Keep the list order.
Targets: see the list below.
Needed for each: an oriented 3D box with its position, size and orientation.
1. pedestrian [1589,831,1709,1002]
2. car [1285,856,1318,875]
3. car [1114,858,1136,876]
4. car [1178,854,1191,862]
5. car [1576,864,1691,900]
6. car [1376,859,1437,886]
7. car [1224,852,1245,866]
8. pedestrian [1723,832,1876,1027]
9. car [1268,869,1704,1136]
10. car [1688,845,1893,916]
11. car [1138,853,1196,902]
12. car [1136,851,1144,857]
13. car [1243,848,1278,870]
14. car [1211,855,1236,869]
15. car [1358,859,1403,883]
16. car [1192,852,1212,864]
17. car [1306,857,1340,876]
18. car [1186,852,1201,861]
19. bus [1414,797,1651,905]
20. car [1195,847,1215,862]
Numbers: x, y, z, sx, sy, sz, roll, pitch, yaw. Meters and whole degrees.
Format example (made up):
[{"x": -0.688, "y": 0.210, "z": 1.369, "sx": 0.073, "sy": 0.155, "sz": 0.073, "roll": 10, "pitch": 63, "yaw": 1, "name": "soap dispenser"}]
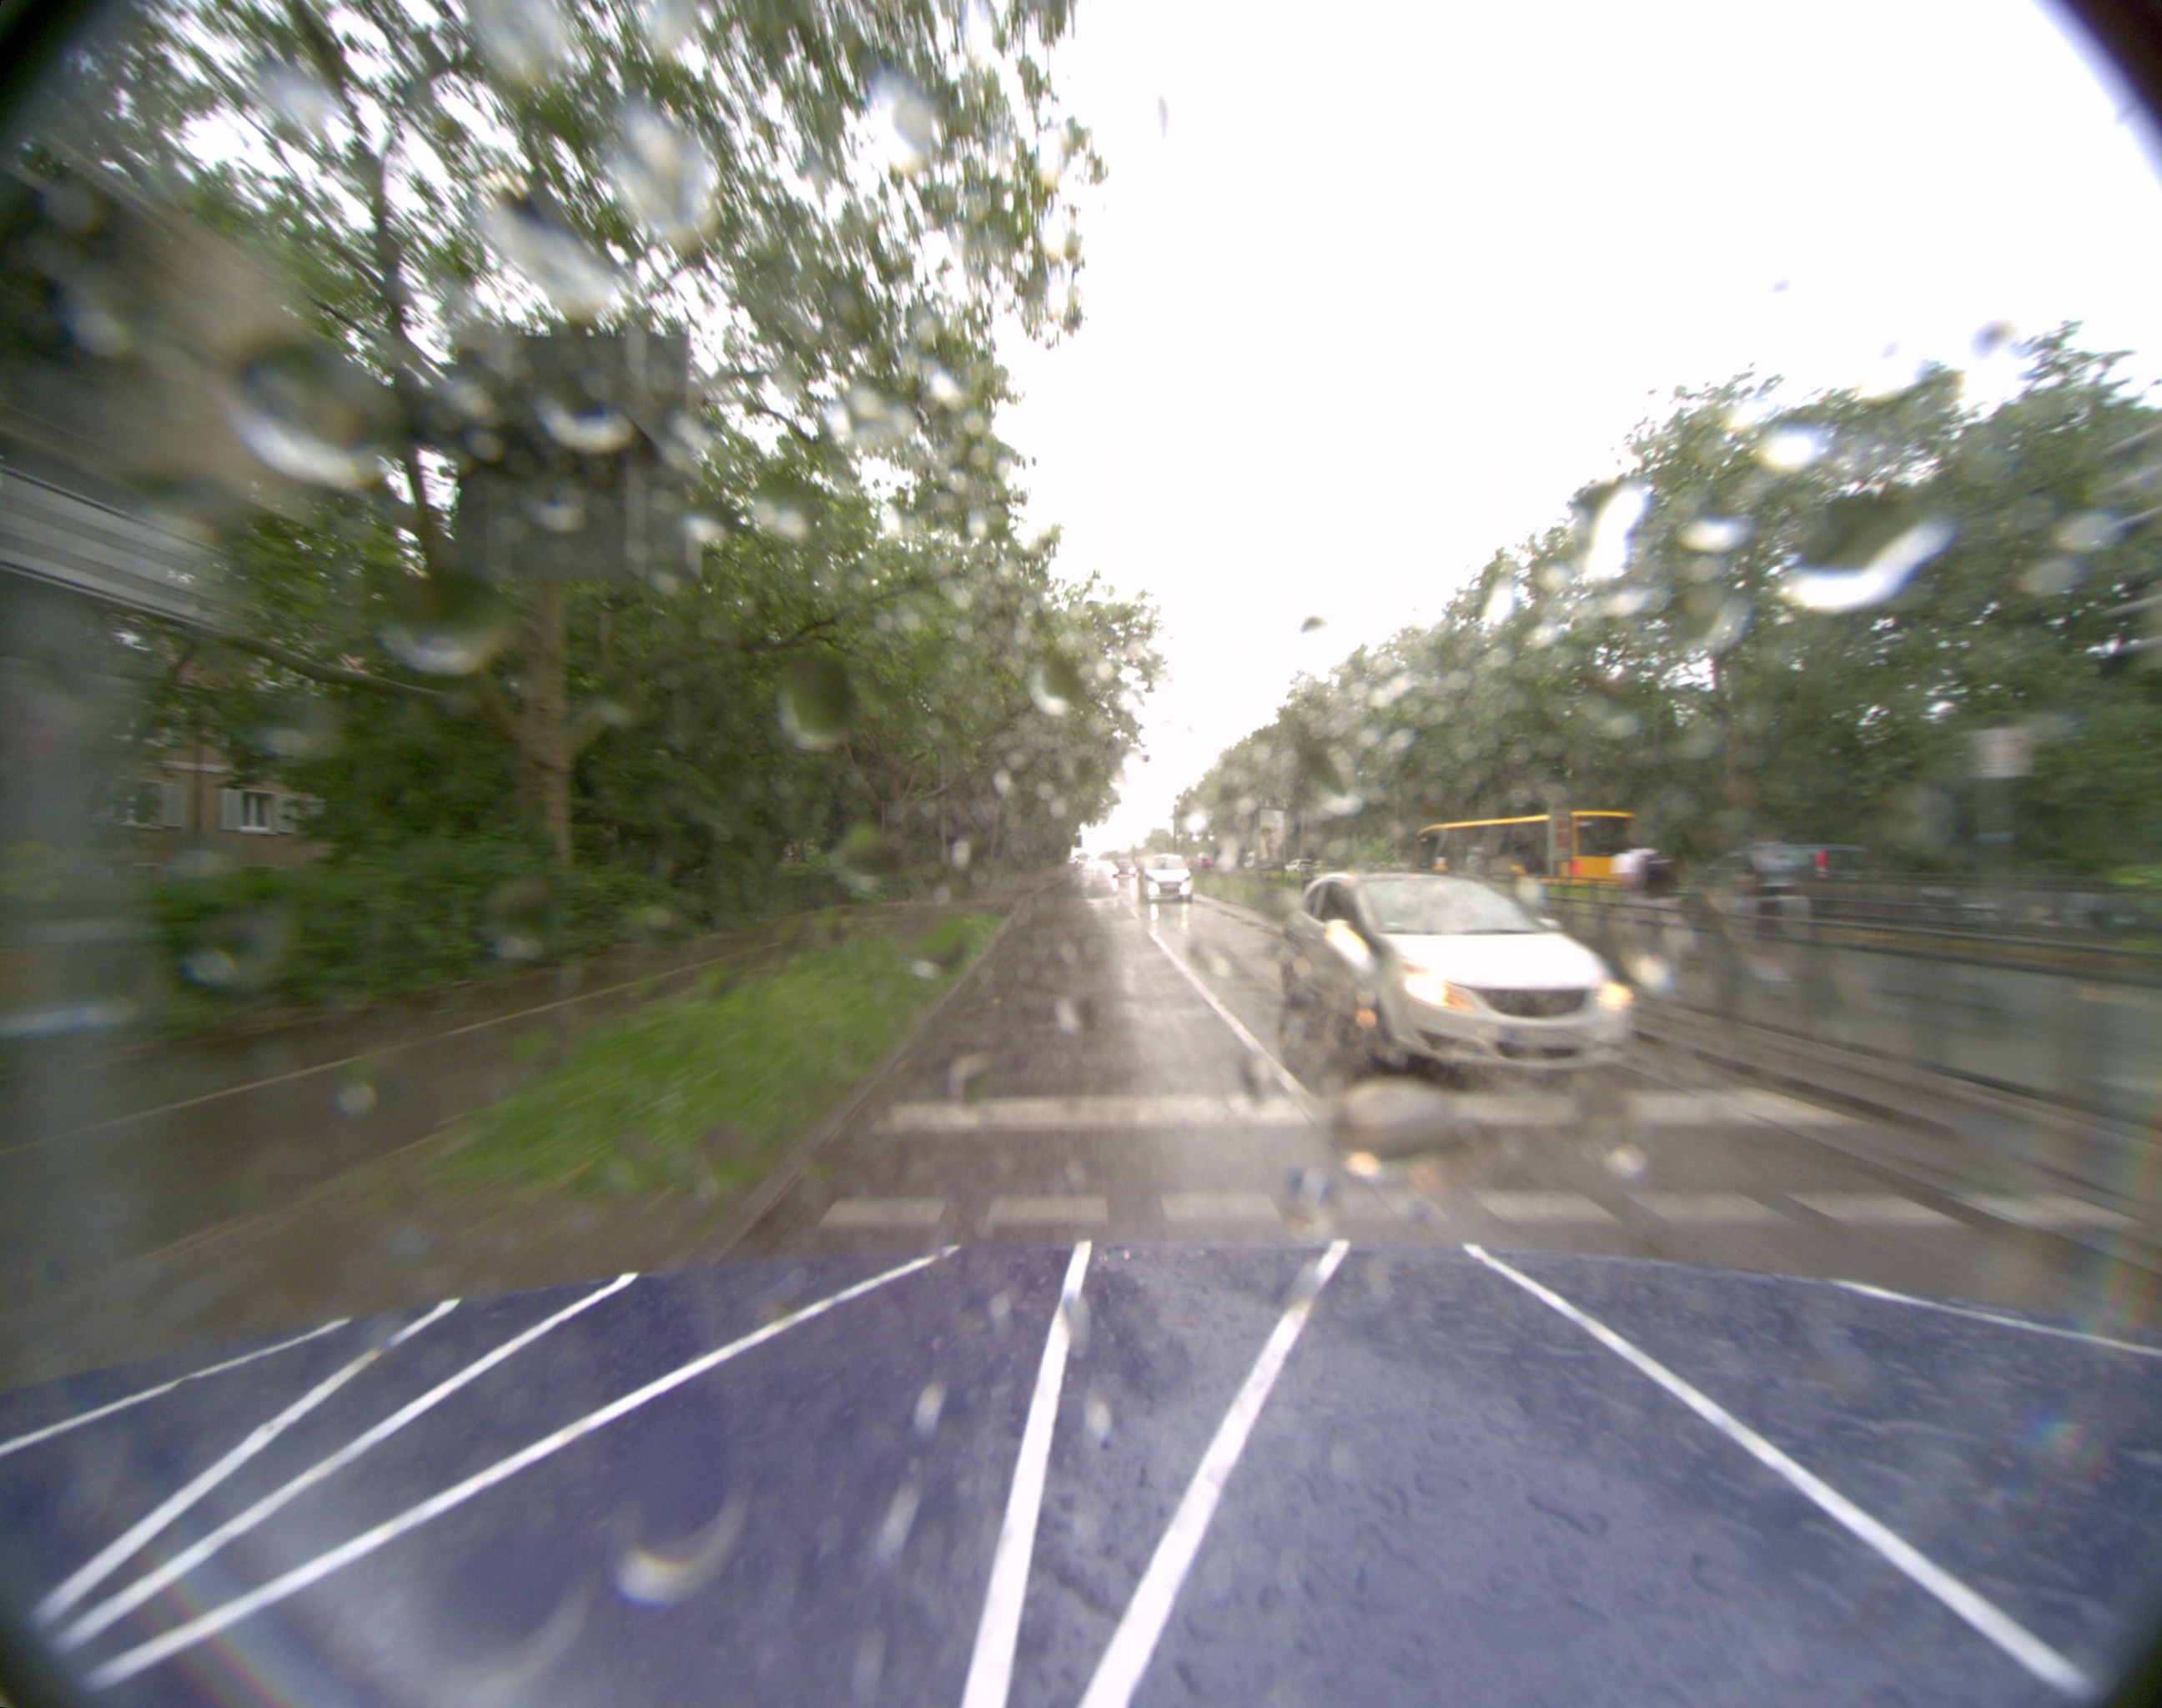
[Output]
[{"x": 6.046, "y": 0.638, "z": 8.123, "sx": 0.717, "sy": 1.734, "sz": 0.750, "roll": -1, "pitch": 1, "yaw": 0, "name": "pedestrian"}, {"x": 21.456, "y": 1.108, "z": 74.179, "sx": 1.755, "sy": 1.718, "sz": 4.530, "roll": 1, "pitch": 0, "yaw": -2, "name": "car"}, {"x": 3.753, "y": 1.103, "z": 64.946, "sx": 1.726, "sy": 1.425, "sz": 3.852, "roll": 0, "pitch": 0, "yaw": 2, "name": "car"}, {"x": 20.942, "y": 0.737, "z": 153.708, "sx": 2.039, "sy": 1.543, "sz": 4.384, "roll": 1, "pitch": 0, "yaw": -2, "name": "car"}, {"x": 22.998, "y": 1.133, "z": 31.825, "sx": 1.740, "sy": 1.309, "sz": 3.985, "roll": 1, "pitch": 0, "yaw": -3, "name": "car"}, {"x": 22.395, "y": 1.229, "z": 52.479, "sx": 2.037, "sy": 1.741, "sz": 4.693, "roll": 1, "pitch": 0, "yaw": -2, "name": "car"}, {"x": 21.213, "y": 0.603, "z": 104.974, "sx": 1.962, "sy": 1.851, "sz": 4.640, "roll": 1, "pitch": 0, "yaw": 0, "name": "car"}, {"x": 6.740, "y": 0.671, "z": 7.175, "sx": 0.679, "sy": 1.728, "sz": 0.807, "roll": -1, "pitch": 1, "yaw": 0, "name": "pedestrian"}, {"x": 2.928, "y": 0.945, "z": 6.519, "sx": 1.730, "sy": 1.470, "sz": 3.805, "roll": -1, "pitch": 1, "yaw": 0, "name": "car"}, {"x": 22.988, "y": 0.783, "z": 24.956, "sx": 2.037, "sy": 2.080, "sz": 4.802, "roll": 1, "pitch": 0, "yaw": -3, "name": "car"}, {"x": 3.110, "y": 0.809, "z": 28.228, "sx": 1.869, "sy": 1.614, "sz": 4.263, "roll": -1, "pitch": 0, "yaw": 3, "name": "car"}, {"x": 17.812, "y": -0.052, "z": 231.109, "sx": 1.983, "sy": 1.558, "sz": 4.767, "roll": 1, "pitch": 0, "yaw": -1, "name": "car"}, {"x": 21.032, "y": 0.557, "z": 89.487, "sx": 2.396, "sy": 2.526, "sz": 6.565, "roll": 1, "pitch": 0, "yaw": -2, "name": "car"}, {"x": 17.272, "y": 0.923, "z": 92.404, "sx": 2.037, "sy": 1.648, "sz": 4.275, "roll": 1, "pitch": 0, "yaw": -2, "name": "car"}, {"x": 22.562, "y": 1.257, "z": 57.341, "sx": 1.766, "sy": 1.638, "sz": 3.812, "roll": 1, "pitch": 0, "yaw": -2, "name": "car"}, {"x": 17.194, "y": 0.588, "z": 108.502, "sx": 2.019, "sy": 1.648, "sz": 4.394, "roll": 1, "pitch": 0, "yaw": -2, "name": "car"}, {"x": 21.730, "y": 1.086, "z": 68.344, "sx": 1.766, "sy": 1.638, "sz": 3.812, "roll": 1, "pitch": 0, "yaw": -2, "name": "car"}, {"x": 21.039, "y": 0.490, "z": 142.486, "sx": 2.038, "sy": 1.543, "sz": 4.382, "roll": -3, "pitch": 2, "yaw": -1, "name": "car"}, {"x": 19.006, "y": -0.161, "z": 33.568, "sx": 3.037, "sy": 3.816, "sz": 12.243, "roll": -2, "pitch": 0, "yaw": -1, "name": "bus"}, {"x": 20.636, "y": 0.061, "z": 126.946, "sx": 2.335, "sy": 2.432, "sz": 6.138, "roll": 1, "pitch": 1, "yaw": 0, "name": "car"}]
